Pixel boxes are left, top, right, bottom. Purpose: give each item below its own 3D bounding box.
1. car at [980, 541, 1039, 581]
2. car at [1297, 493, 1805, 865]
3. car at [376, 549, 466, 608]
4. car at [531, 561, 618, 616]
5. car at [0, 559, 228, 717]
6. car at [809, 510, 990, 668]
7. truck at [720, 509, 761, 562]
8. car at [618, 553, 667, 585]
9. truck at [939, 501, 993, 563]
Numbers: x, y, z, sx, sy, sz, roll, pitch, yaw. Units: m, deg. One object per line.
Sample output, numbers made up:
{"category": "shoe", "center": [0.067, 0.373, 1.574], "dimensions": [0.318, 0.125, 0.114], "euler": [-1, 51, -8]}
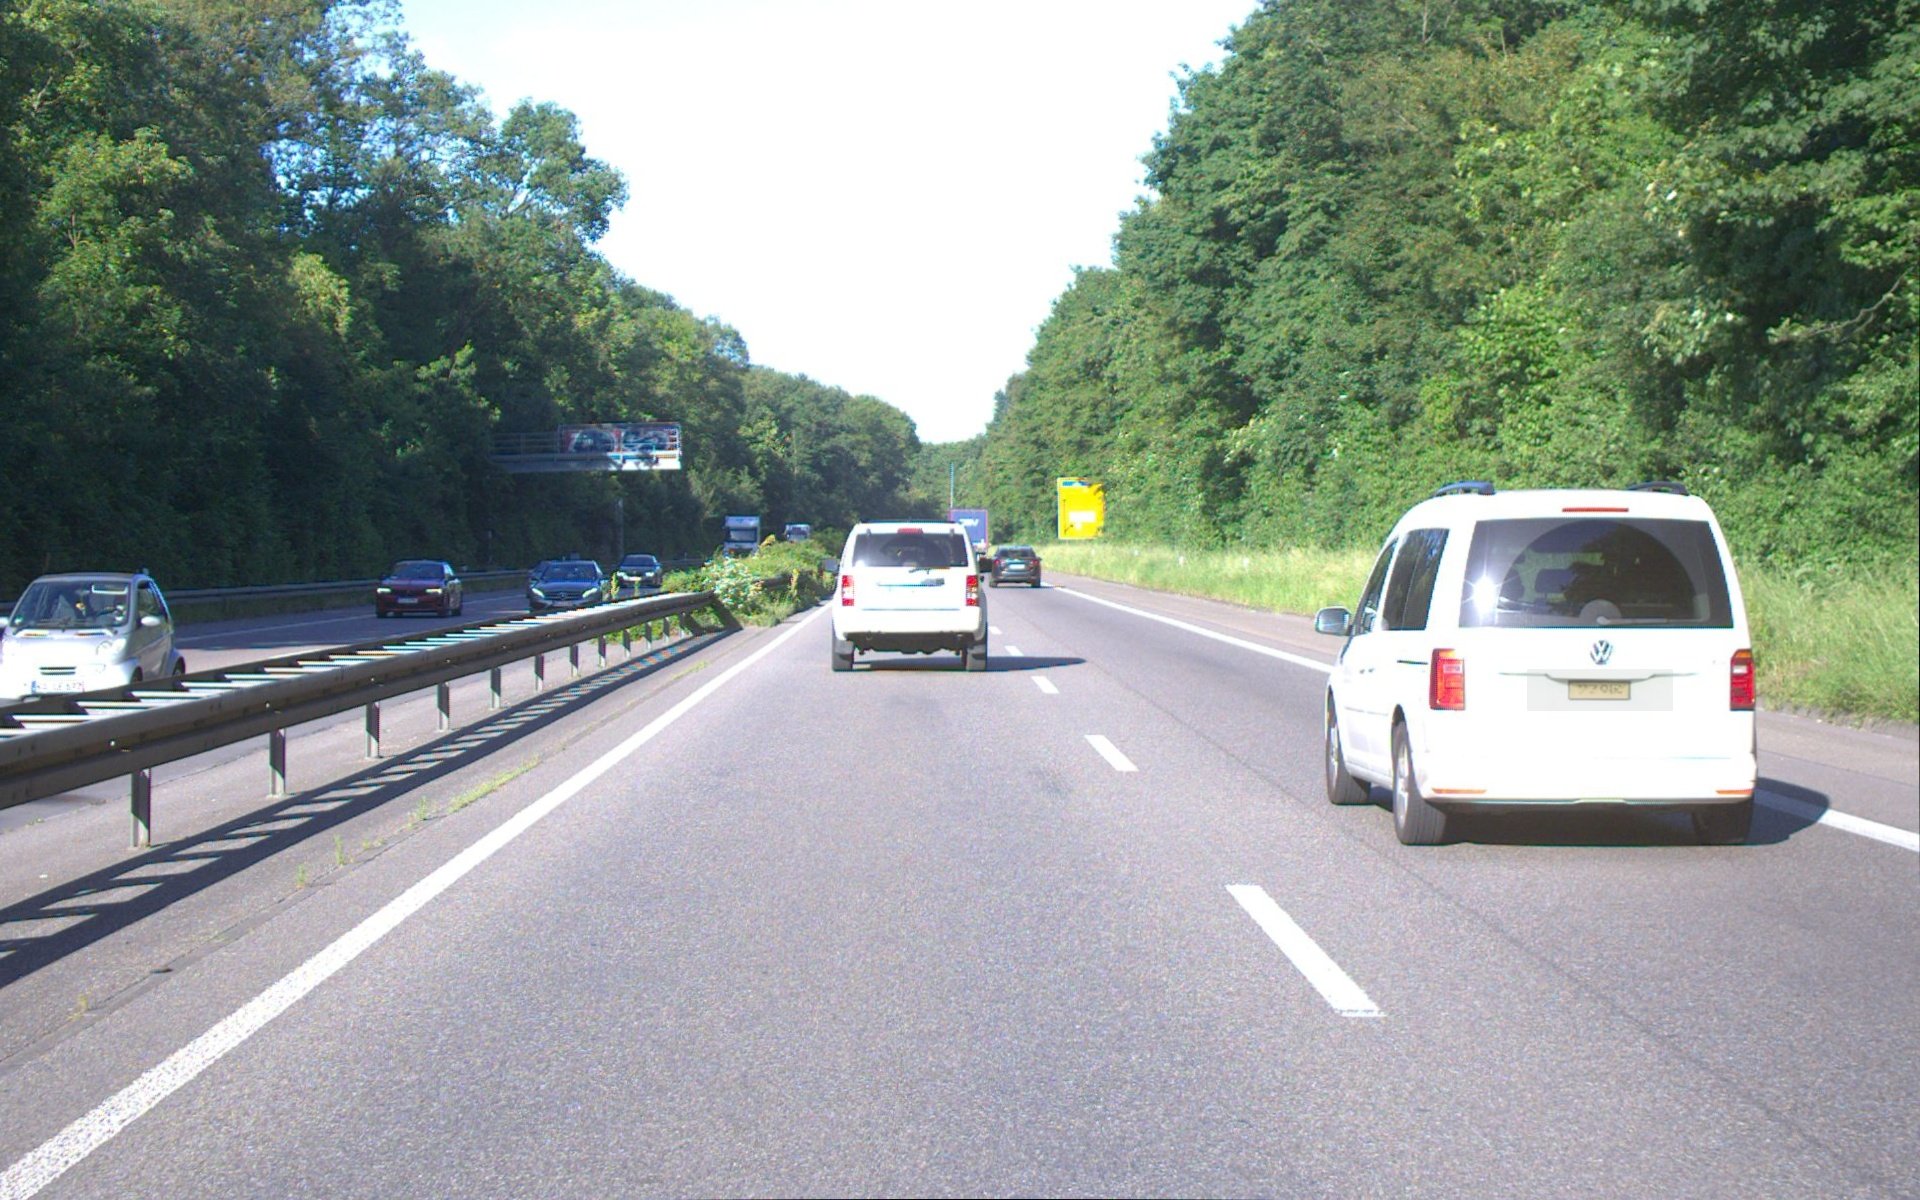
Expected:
{"category": "car", "center": [1.752, -1.416, 123.104], "dimensions": [1.993, 1.393, 4.000], "euler": [0, 1, -1]}
{"category": "car", "center": [3.028, 0.330, 18.573], "dimensions": [1.863, 1.764, 4.470], "euler": [0, 1, -1]}
{"category": "car", "center": [-13.836, -0.565, 88.479], "dimensions": [1.718, 1.440, 4.229], "euler": [-1, 1, -1]}
{"category": "car", "center": [-9.871, -0.317, 88.248], "dimensions": [1.835, 1.352, 4.475], "euler": [0, 1, -1]}
{"category": "car", "center": [-9.166, 0.355, 36.495], "dimensions": [1.877, 1.535, 4.465], "euler": [-1, 1, -1]}
{"category": "car", "center": [-0.785, -0.166, 41.662], "dimensions": [2.085, 1.822, 4.001], "euler": [0, 1, -3]}
{"category": "truck", "center": [-15.901, -4.691, 249.668], "dimensions": [2.761, 3.699, 7.858], "euler": [-1, 1, -3]}
{"category": "car", "center": [-13.697, -1.349, 148.281], "dimensions": [1.718, 1.352, 3.946], "euler": [0, 0, 0]}
{"category": "truck", "center": [0.377, -4.653, 236.698], "dimensions": [3.496, 4.158, 8.862], "euler": [-1, 1, -1]}
